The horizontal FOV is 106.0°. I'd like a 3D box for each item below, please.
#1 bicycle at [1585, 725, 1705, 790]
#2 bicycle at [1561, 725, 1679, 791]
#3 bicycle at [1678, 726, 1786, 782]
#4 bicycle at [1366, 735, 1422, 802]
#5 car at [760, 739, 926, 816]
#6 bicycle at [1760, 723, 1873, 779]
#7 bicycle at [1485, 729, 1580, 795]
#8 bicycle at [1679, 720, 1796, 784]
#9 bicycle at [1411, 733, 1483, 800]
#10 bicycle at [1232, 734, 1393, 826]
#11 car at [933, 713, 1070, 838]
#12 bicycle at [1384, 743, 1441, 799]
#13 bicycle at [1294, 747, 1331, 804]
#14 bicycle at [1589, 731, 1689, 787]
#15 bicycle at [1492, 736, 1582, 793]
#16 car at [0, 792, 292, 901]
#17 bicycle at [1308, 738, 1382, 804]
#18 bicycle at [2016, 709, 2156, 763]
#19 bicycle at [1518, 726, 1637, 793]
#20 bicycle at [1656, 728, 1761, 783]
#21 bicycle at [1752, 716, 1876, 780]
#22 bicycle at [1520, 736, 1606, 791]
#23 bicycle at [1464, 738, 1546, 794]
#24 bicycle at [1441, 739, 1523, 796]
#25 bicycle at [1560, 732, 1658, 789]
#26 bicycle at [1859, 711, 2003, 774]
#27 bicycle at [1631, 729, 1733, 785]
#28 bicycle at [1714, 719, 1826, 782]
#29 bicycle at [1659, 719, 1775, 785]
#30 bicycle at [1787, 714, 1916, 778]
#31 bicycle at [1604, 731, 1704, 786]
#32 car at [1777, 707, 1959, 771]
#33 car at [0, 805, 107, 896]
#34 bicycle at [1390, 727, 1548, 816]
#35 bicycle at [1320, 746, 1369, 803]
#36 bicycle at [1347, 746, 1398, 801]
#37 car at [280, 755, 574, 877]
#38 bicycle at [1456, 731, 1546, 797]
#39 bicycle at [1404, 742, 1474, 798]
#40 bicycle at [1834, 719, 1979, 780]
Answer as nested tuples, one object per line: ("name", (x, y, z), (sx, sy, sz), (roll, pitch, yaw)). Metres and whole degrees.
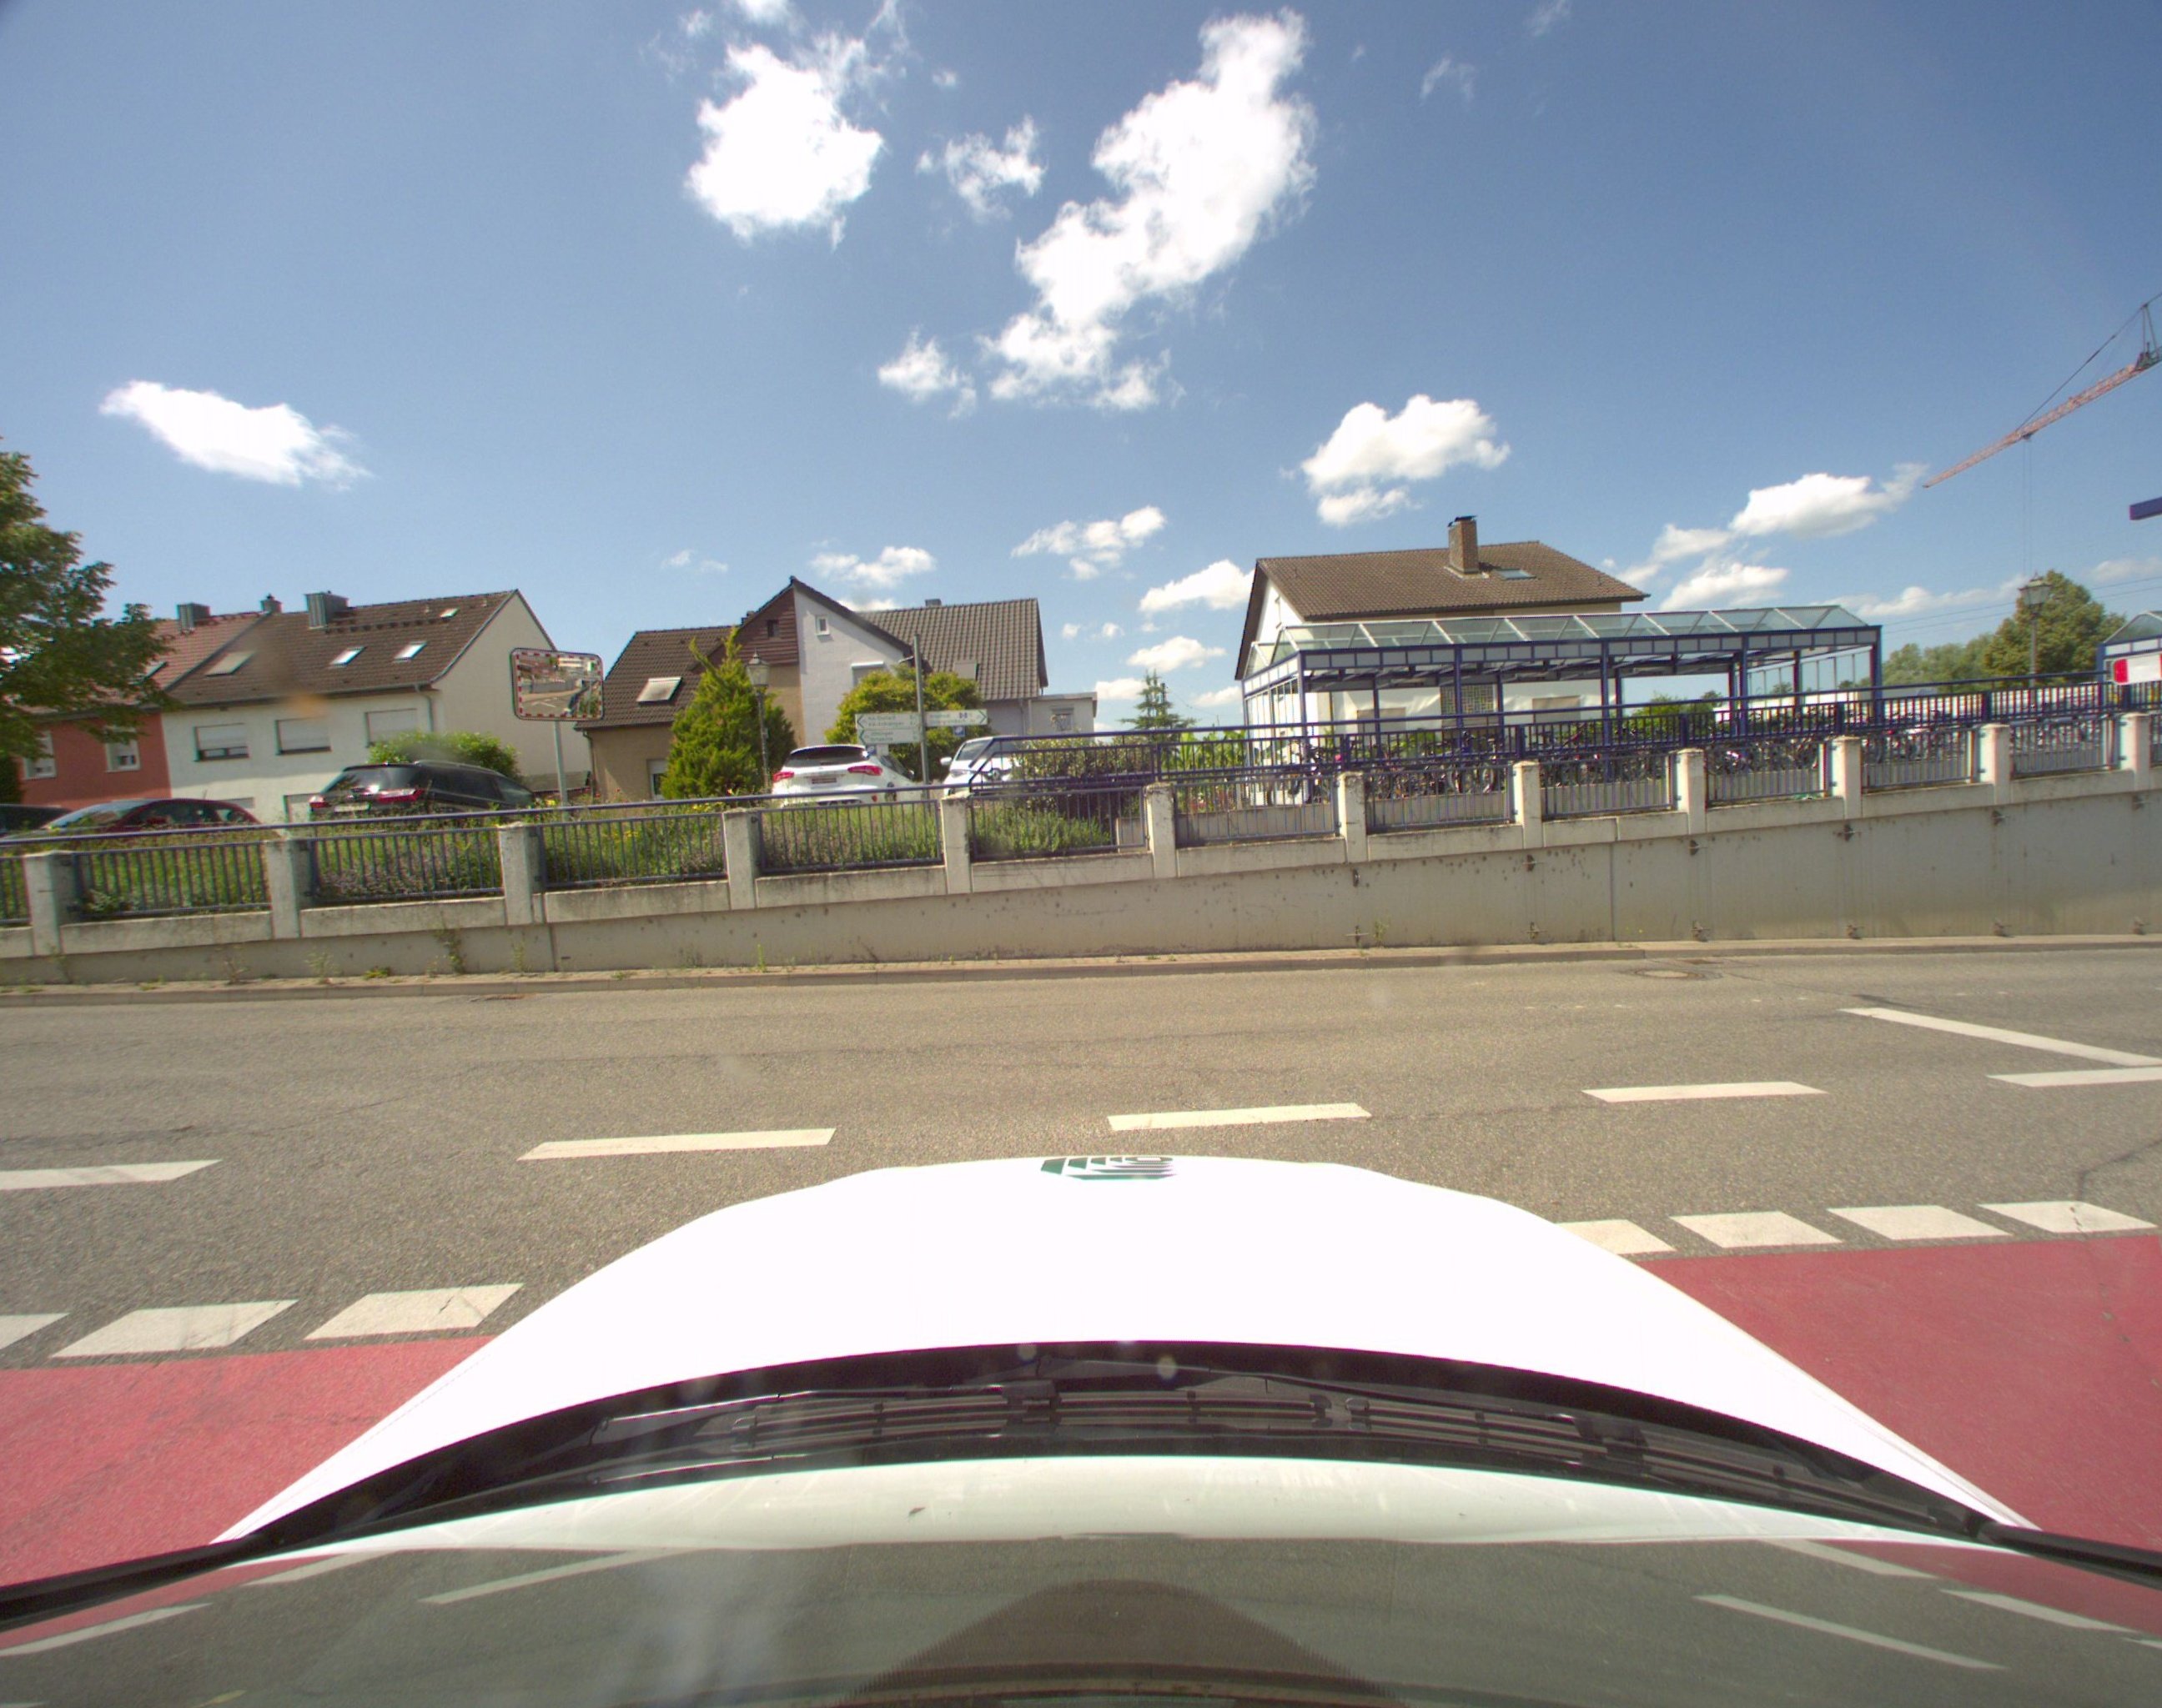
("bicycle", (10.244, -1.728, 14.902), (0.531, 0.994, 2.185), (-3, 3, -4))
("bicycle", (9.582, -1.675, 14.597), (0.531, 0.994, 2.185), (-3, 3, -4))
("bicycle", (13.637, -2.065, 17.135), (0.518, 0.994, 1.962), (-3, 3, -7))
("bicycle", (5.198, -1.379, 13.621), (0.433, 0.994, 2.108), (-3, 3, 10))
("car", (-3.839, -1.214, 13.745), (1.820, 1.020, 3.458), (0, 1, -1))
("bicycle", (15.485, -2.139, 17.222), (0.542, 0.994, 2.039), (-3, 3, 0))
("bicycle", (7.865, -1.563, 14.298), (0.434, 0.994, 2.283), (-3, 3, 2))
("bicycle", (11.979, -1.827, 14.941), (0.514, 0.994, 2.040), (-3, 3, 1))
("bicycle", (6.200, -1.450, 13.900), (0.433, 0.994, 2.106), (-3, 3, 5))
("bicycle", (3.136, -1.002, 11.040), (2.113, 1.125, 0.332), (-4, 3, -8))
("car", (-1.198, -1.181, 13.975), (1.988, 1.797, 4.195), (0, 1, -1))
("bicycle", (6.558, -1.619, 16.206), (0.371, 0.994, 1.967), (-3, 3, 3))
("bicycle", (4.426, -1.470, 15.635), (0.452, 0.994, 1.894), (-3, 3, 10))
("bicycle", (11.364, -1.913, 16.668), (0.518, 0.994, 1.962), (-3, 3, -7))
("bicycle", (9.211, -1.786, 16.547), (0.518, 0.994, 1.962), (-3, 3, -7))
("car", (-15.887, -0.133, 13.629), (1.862, 1.586, 3.608), (0, 1, -1))
("bicycle", (4.490, -1.391, 13.987), (0.331, 0.994, 2.071), (-3, 3, -7))
("bicycle", (22.803, -2.653, 18.543), (0.510, 0.994, 2.020), (-4, 3, -10))
("bicycle", (8.634, -1.606, 14.290), (0.531, 0.994, 2.278), (-3, 3, -4))
("bicycle", (13.091, -2.031, 17.067), (0.518, 0.994, 1.962), (-3, 3, -7))
("bicycle", (13.418, -1.911, 14.990), (0.513, 0.994, 2.041), (-3, 3, 3))
("bicycle", (9.866, -1.833, 16.752), (0.518, 0.994, 1.798), (-3, 3, -7))
("bicycle", (8.505, -1.740, 16.432), (0.413, 0.994, 1.962), (-3, 3, -7))
("bicycle", (8.031, -1.711, 16.389), (0.473, 0.994, 1.962), (-3, 3, -7))
("bicycle", (10.644, -1.864, 16.504), (0.518, 0.994, 1.962), (-3, 3, -7))
("bicycle", (16.120, -2.090, 15.529), (0.542, 0.994, 2.037), (-3, 3, -3))
("bicycle", (12.505, -1.995, 17.026), (0.518, 0.994, 1.962), (-3, 3, -7))
("bicycle", (12.670, -1.872, 15.062), (0.513, 0.994, 2.043), (-3, 3, 6))
("bicycle", (11.260, -1.766, 14.522), (0.576, 0.994, 2.193), (-3, 3, 7))
("bicycle", (14.225, -1.963, 15.127), (0.541, 0.994, 2.041), (-3, 3, 3))
("bicycle", (11.893, -1.959, 16.993), (0.518, 0.994, 1.962), (-3, 3, -7))
("car", (26.118, -3.764, 27.230), (1.994, 1.677, 3.986), (-4, 3, -11))
("car", (-19.682, -0.052, 13.859), (1.862, 1.586, 3.608), (0, 1, -1))
("bicycle", (5.415, -1.147, 11.370), (2.113, 1.125, 0.391), (-4, 3, -8))
("bicycle", (5.101, -1.519, 15.848), (0.371, 0.994, 1.967), (-3, 3, 3))
("bicycle", (5.817, -1.583, 16.324), (0.371, 0.994, 1.967), (-3, 3, 3))
("car", (-10.922, -0.592, 14.057), (1.862, 1.797, 3.998), (0, 1, -1))
("bicycle", (7.285, -1.529, 14.259), (0.434, 0.994, 2.283), (-3, 3, 2))
("bicycle", (7.179, -1.665, 16.426), (0.425, 0.994, 1.964), (-3, 3, -4))
("bicycle", (15.986, -2.000, 15.859), (0.436, 0.994, 2.157), (-3, 3, -7))
